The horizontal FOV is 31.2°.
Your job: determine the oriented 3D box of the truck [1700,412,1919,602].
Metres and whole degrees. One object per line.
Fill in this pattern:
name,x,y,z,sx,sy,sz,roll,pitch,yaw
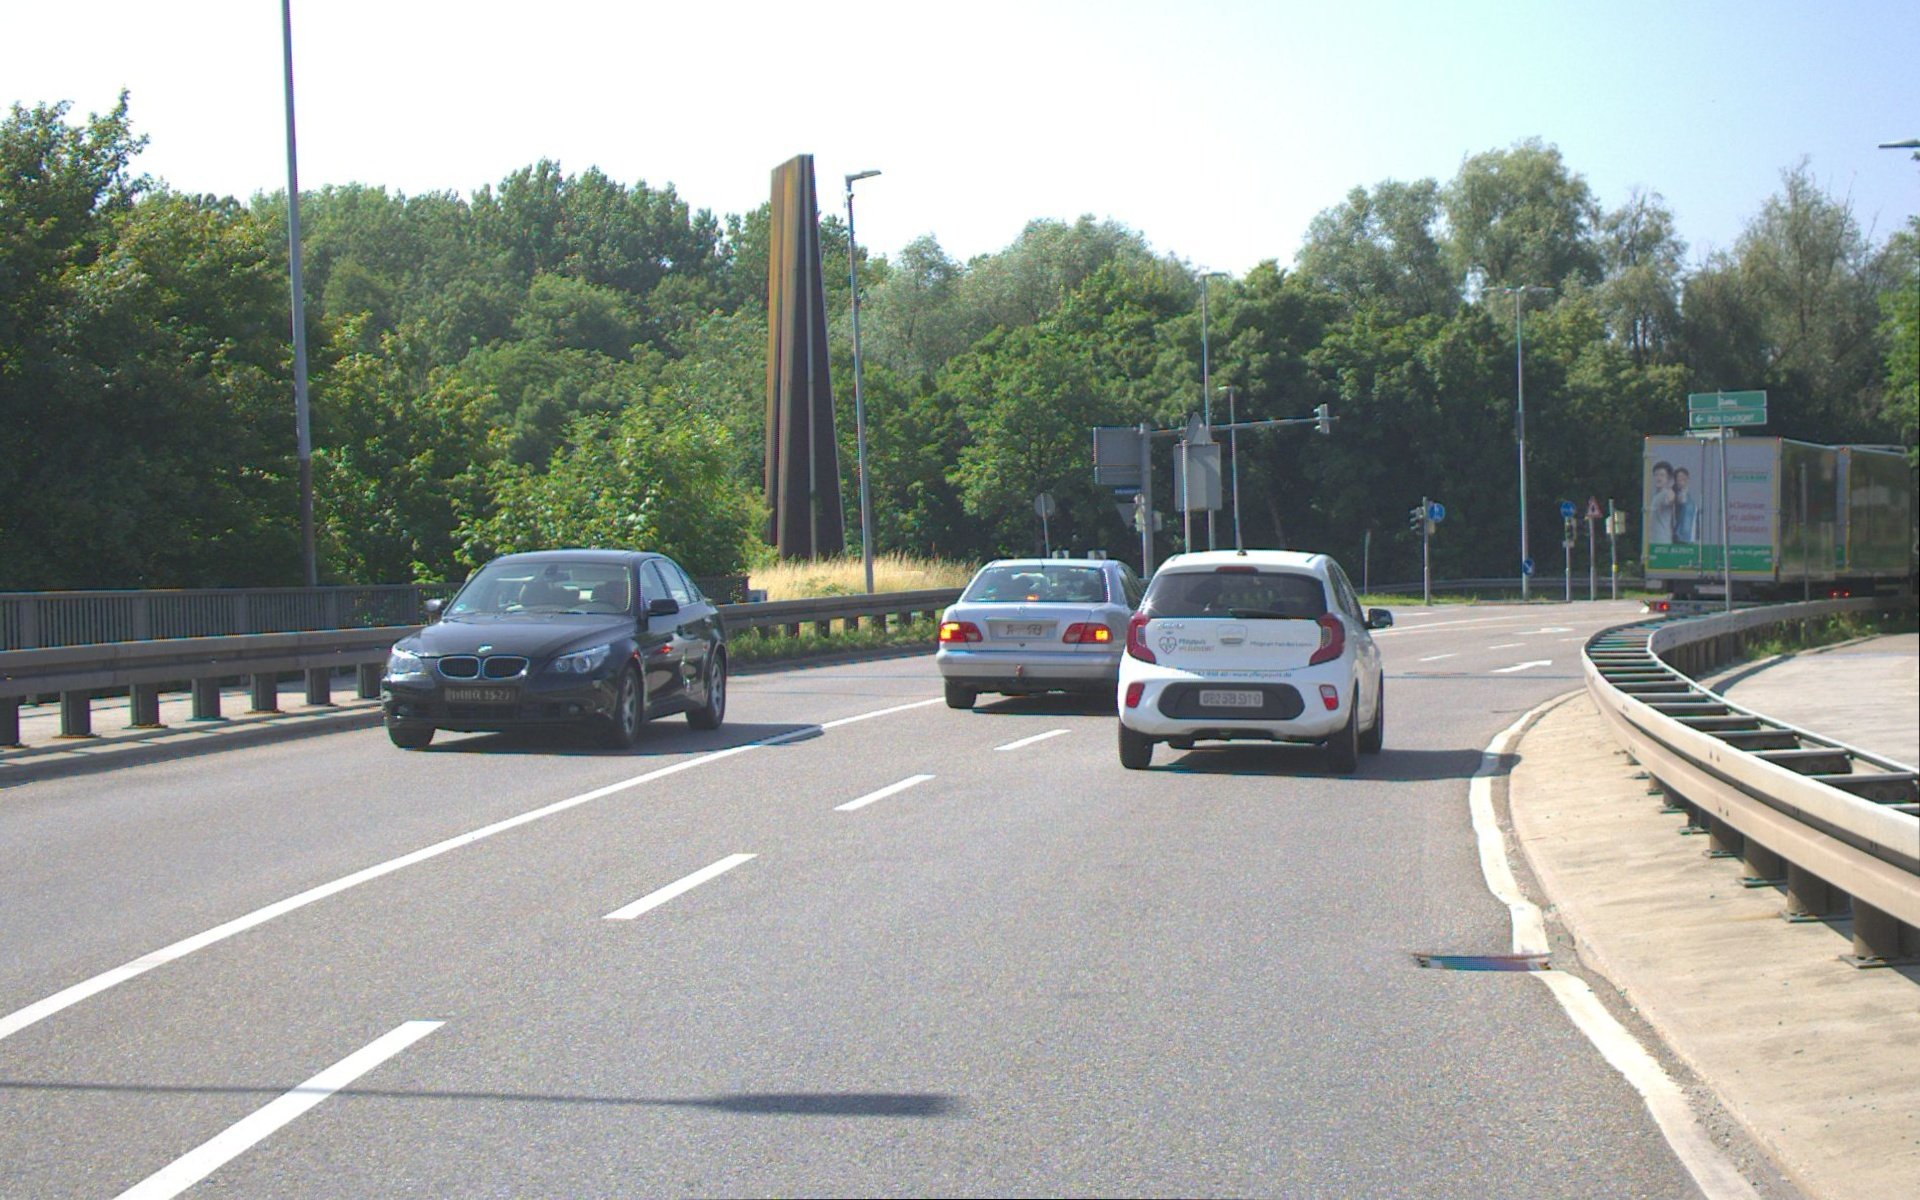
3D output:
truck,18.471,-1.966,74.002,3.264,3.745,8.360,3,2,23

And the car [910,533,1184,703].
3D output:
car,0.925,0.116,33.026,1.940,1.481,4.898,1,1,10

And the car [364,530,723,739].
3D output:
car,-3.137,0.196,26.820,1.856,1.437,4.515,1,2,5

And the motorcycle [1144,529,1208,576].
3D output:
motorcycle,7.094,-1.554,112.932,0.897,1.524,1.982,1,0,-44

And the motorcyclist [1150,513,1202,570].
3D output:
motorcyclist,7.102,-1.914,112.948,0.890,1.864,1.463,1,0,-44

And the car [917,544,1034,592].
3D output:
car,0.524,-1.065,117.328,1.762,1.384,3.998,2,-4,-42

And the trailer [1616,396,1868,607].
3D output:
trailer,15.228,-1.866,66.509,3.228,3.745,7.815,3,2,23

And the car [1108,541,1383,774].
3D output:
car,2.117,0.352,24.615,1.702,1.489,3.999,2,1,8
